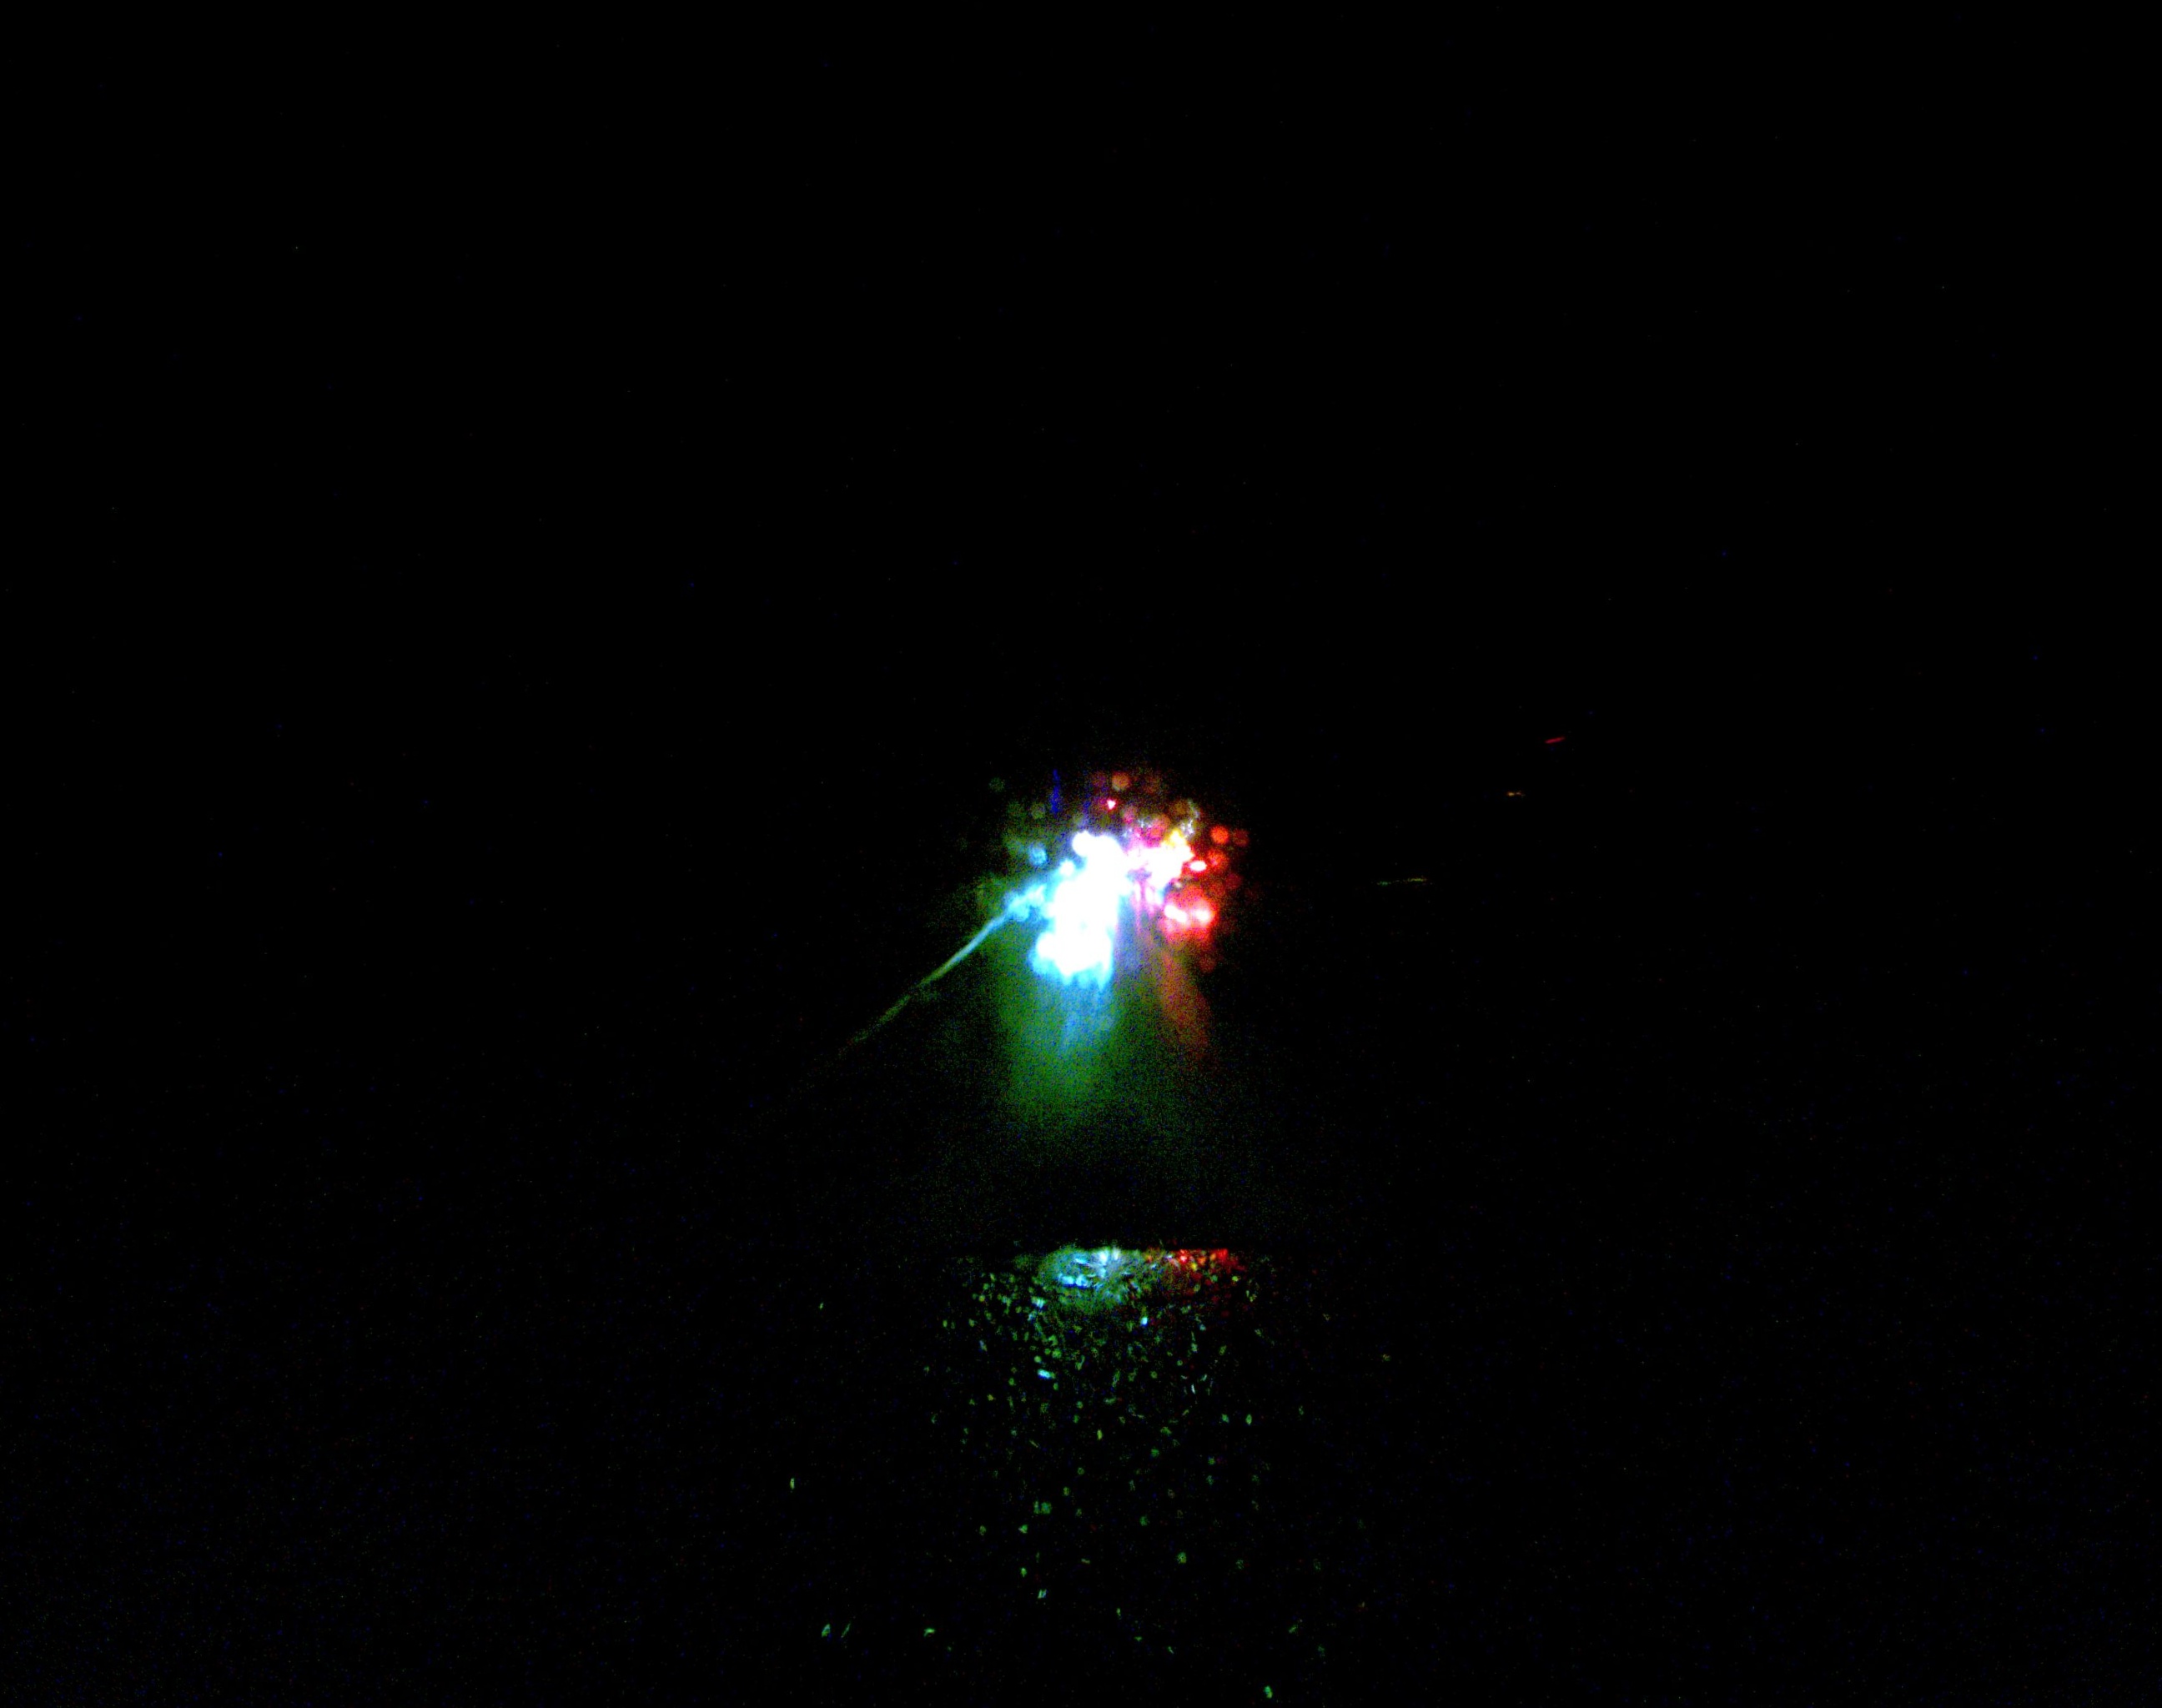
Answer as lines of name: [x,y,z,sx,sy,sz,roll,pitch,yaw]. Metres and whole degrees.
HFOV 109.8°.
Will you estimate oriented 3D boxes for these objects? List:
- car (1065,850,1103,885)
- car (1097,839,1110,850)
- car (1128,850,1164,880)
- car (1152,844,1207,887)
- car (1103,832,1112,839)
car: [0.181,0.701,40.808,1.893,1.678,4.339,-2,0,1]
car: [3.499,-1.537,120.577,1.979,1.508,4.207,-3,-1,1]
car: [3.849,0.638,45.517,1.893,1.661,4.000,0,0,1]
car: [3.825,0.445,30.072,1.893,1.577,4.001,0,0,3]
car: [6.706,-4.642,192.352,2.063,1.668,4.137,4,2,0]
